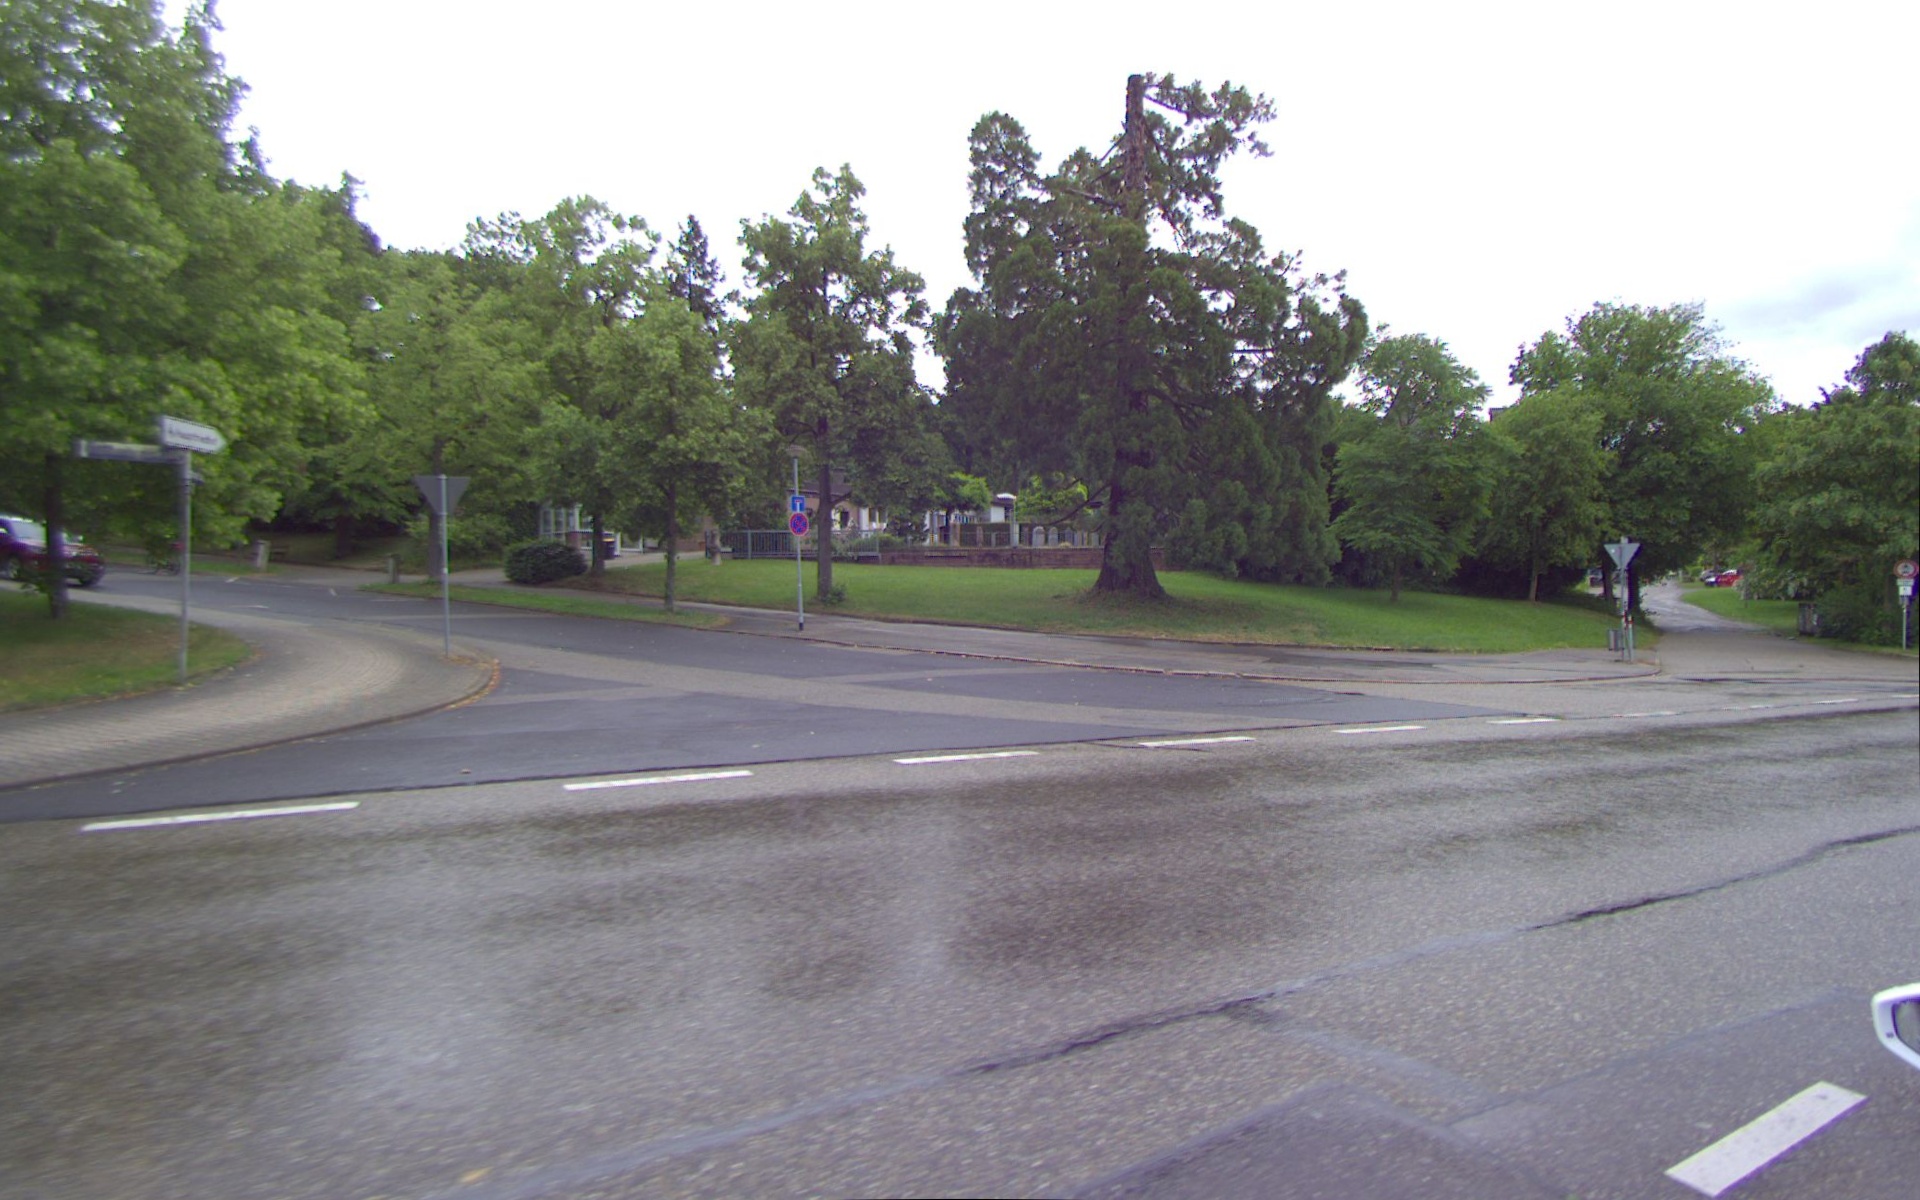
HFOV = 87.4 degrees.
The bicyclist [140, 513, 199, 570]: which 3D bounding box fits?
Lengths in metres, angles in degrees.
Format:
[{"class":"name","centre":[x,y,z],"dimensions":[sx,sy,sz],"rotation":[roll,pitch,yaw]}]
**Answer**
[{"class":"bicyclist","centre":[-25.844,-1.909,32.851],"dimensions":[1.259,1.779,0.855],"rotation":[2,-1,12]}]

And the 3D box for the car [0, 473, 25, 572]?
[{"class":"car","centre":[-29.486,-2.260,28.562],"dimensions":[5.560,2.736,2.156],"rotation":[2,2,23]}]

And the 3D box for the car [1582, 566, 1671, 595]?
[{"class":"car","centre":[36.850,-1.108,55.598],"dimensions":[3.853,1.506,1.925],"rotation":[2,0,42]}]

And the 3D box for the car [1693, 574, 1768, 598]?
[{"class":"car","centre":[51.974,-0.927,67.786],"dimensions":[3.853,1.506,1.925],"rotation":[2,0,42]}]

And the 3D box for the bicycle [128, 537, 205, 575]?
[{"class":"bicycle","centre":[-25.948,-1.439,32.865],"dimensions":[1.996,1.170,0.855],"rotation":[2,-1,12]}]

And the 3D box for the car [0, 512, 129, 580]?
[{"class":"car","centre":[-24.497,-1.421,26.650],"dimensions":[3.920,1.690,1.978],"rotation":[2,2,18]}]
